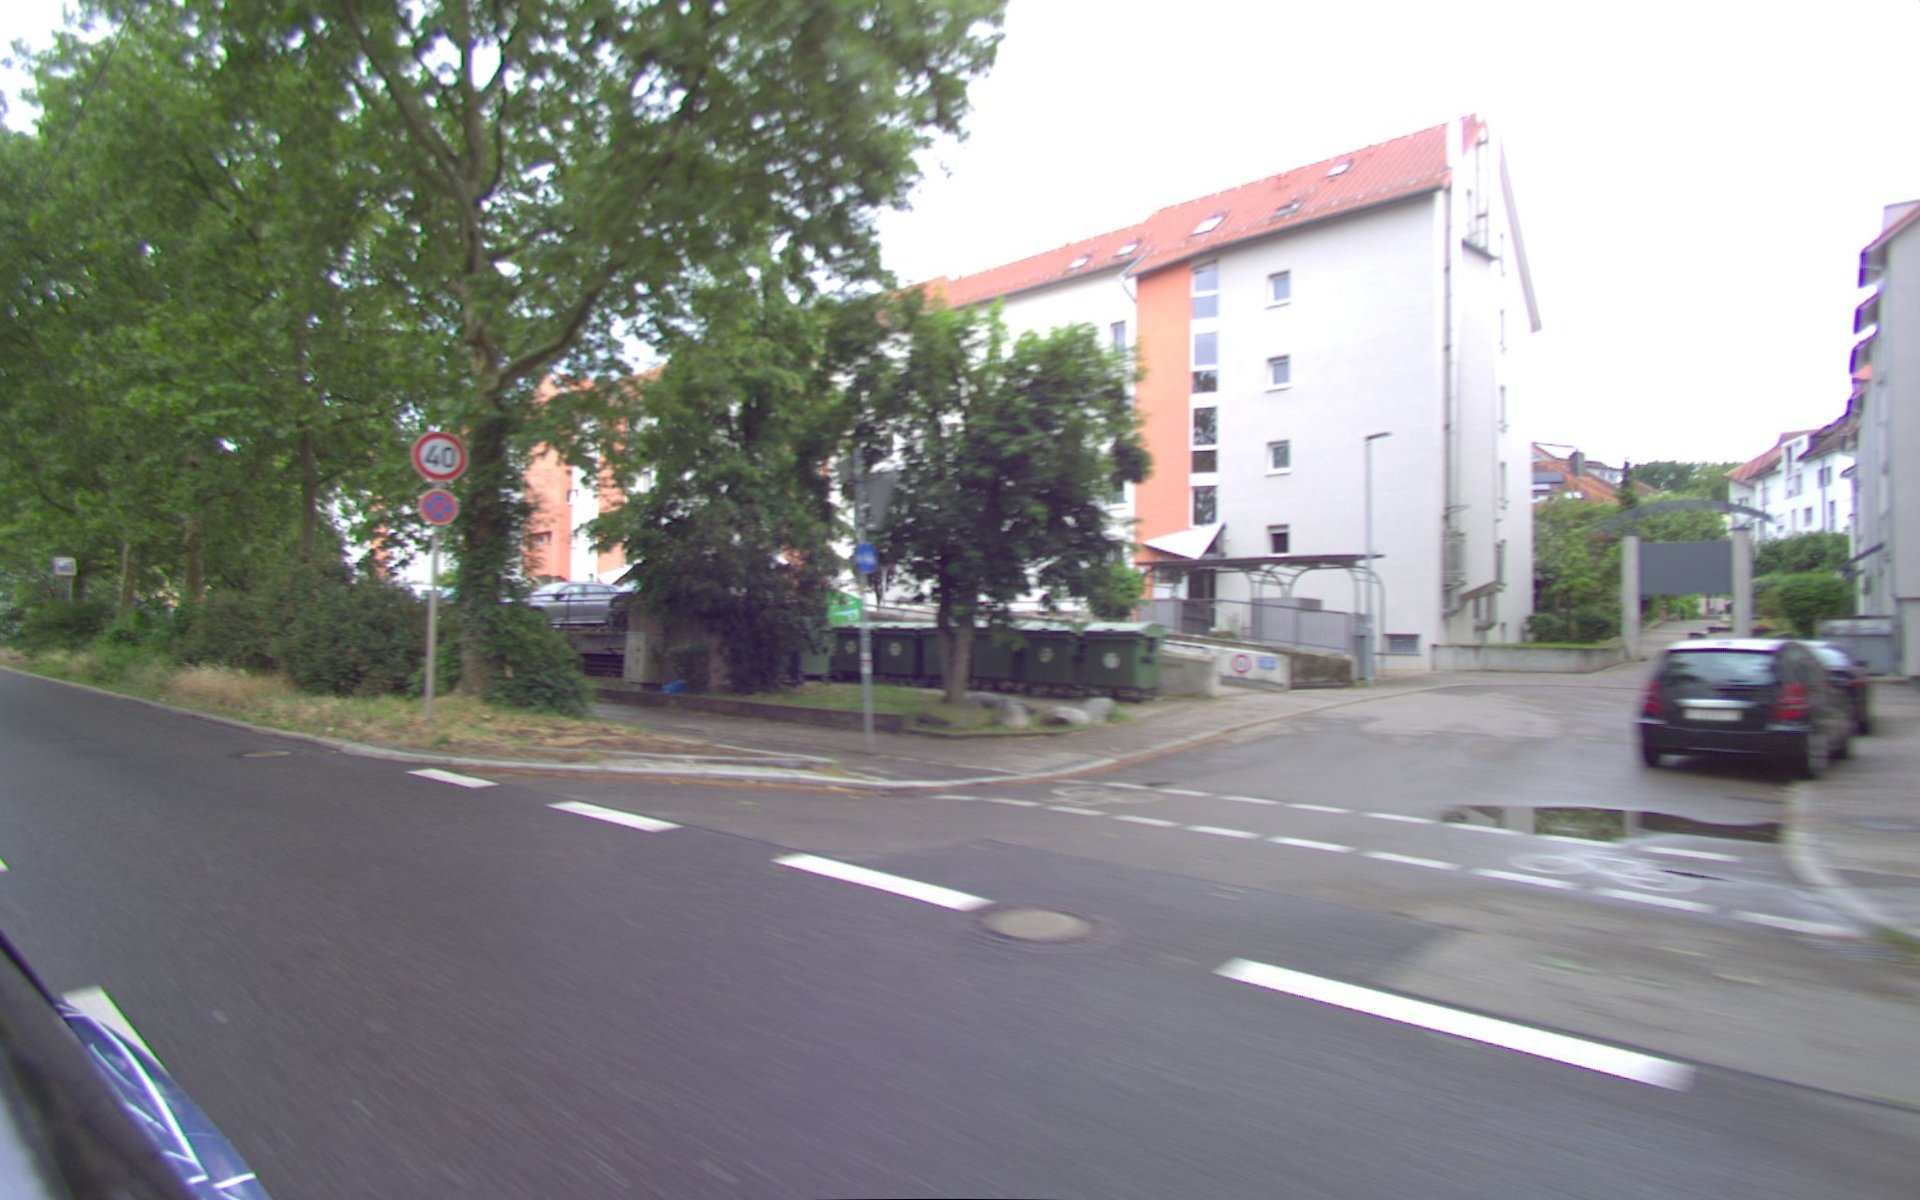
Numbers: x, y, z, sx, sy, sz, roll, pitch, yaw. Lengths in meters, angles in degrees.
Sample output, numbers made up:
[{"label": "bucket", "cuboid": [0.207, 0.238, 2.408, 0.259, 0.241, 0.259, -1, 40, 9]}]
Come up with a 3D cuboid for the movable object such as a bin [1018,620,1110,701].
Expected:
[{"label": "movable object such as a bin", "cuboid": [2.019, 1.155, 19.686, 1.300, 1.425, 1.150, -2, 2, 40]}]

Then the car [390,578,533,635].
[{"label": "car", "cuboid": [-17.193, 0.279, 35.034, 1.958, 1.808, 3.945, -2, -3, 41]}]

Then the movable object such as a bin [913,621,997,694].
[{"label": "movable object such as a bin", "cuboid": [-0.108, 1.201, 21.620, 1.300, 1.397, 1.150, -2, 2, 40]}]

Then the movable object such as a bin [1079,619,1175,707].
[{"label": "movable object such as a bin", "cuboid": [3.106, 1.141, 18.759, 1.300, 1.474, 1.150, -2, 2, 40]}]

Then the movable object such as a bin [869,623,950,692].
[{"label": "movable object such as a bin", "cuboid": [-1.128, 1.252, 22.620, 1.300, 1.397, 1.150, -2, 2, 40]}]

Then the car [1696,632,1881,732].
[{"label": "car", "cuboid": [14.183, 1.304, 17.258, 3.939, 1.488, 1.909, 2, -3, -43]}]

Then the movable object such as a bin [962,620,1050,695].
[{"label": "movable object such as a bin", "cuboid": [0.946, 1.151, 20.740, 1.300, 1.397, 1.150, -2, 2, 40]}]

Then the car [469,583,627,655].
[{"label": "car", "cuboid": [-12.304, 0.623, 30.377, 3.939, 2.029, 1.958, 3, -3, -43]}]

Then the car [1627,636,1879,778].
[{"label": "car", "cuboid": [10.091, 1.207, 12.779, 3.939, 1.488, 1.909, 2, -3, -43]}]

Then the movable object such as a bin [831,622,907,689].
[{"label": "movable object such as a bin", "cuboid": [-2.104, 1.263, 23.421, 1.225, 1.397, 1.150, -2, 2, 40]}]

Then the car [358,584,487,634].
[{"label": "car", "cuboid": [-19.320, 0.313, 36.479, 1.736, 1.701, 3.755, -1, 0, 38]}]
